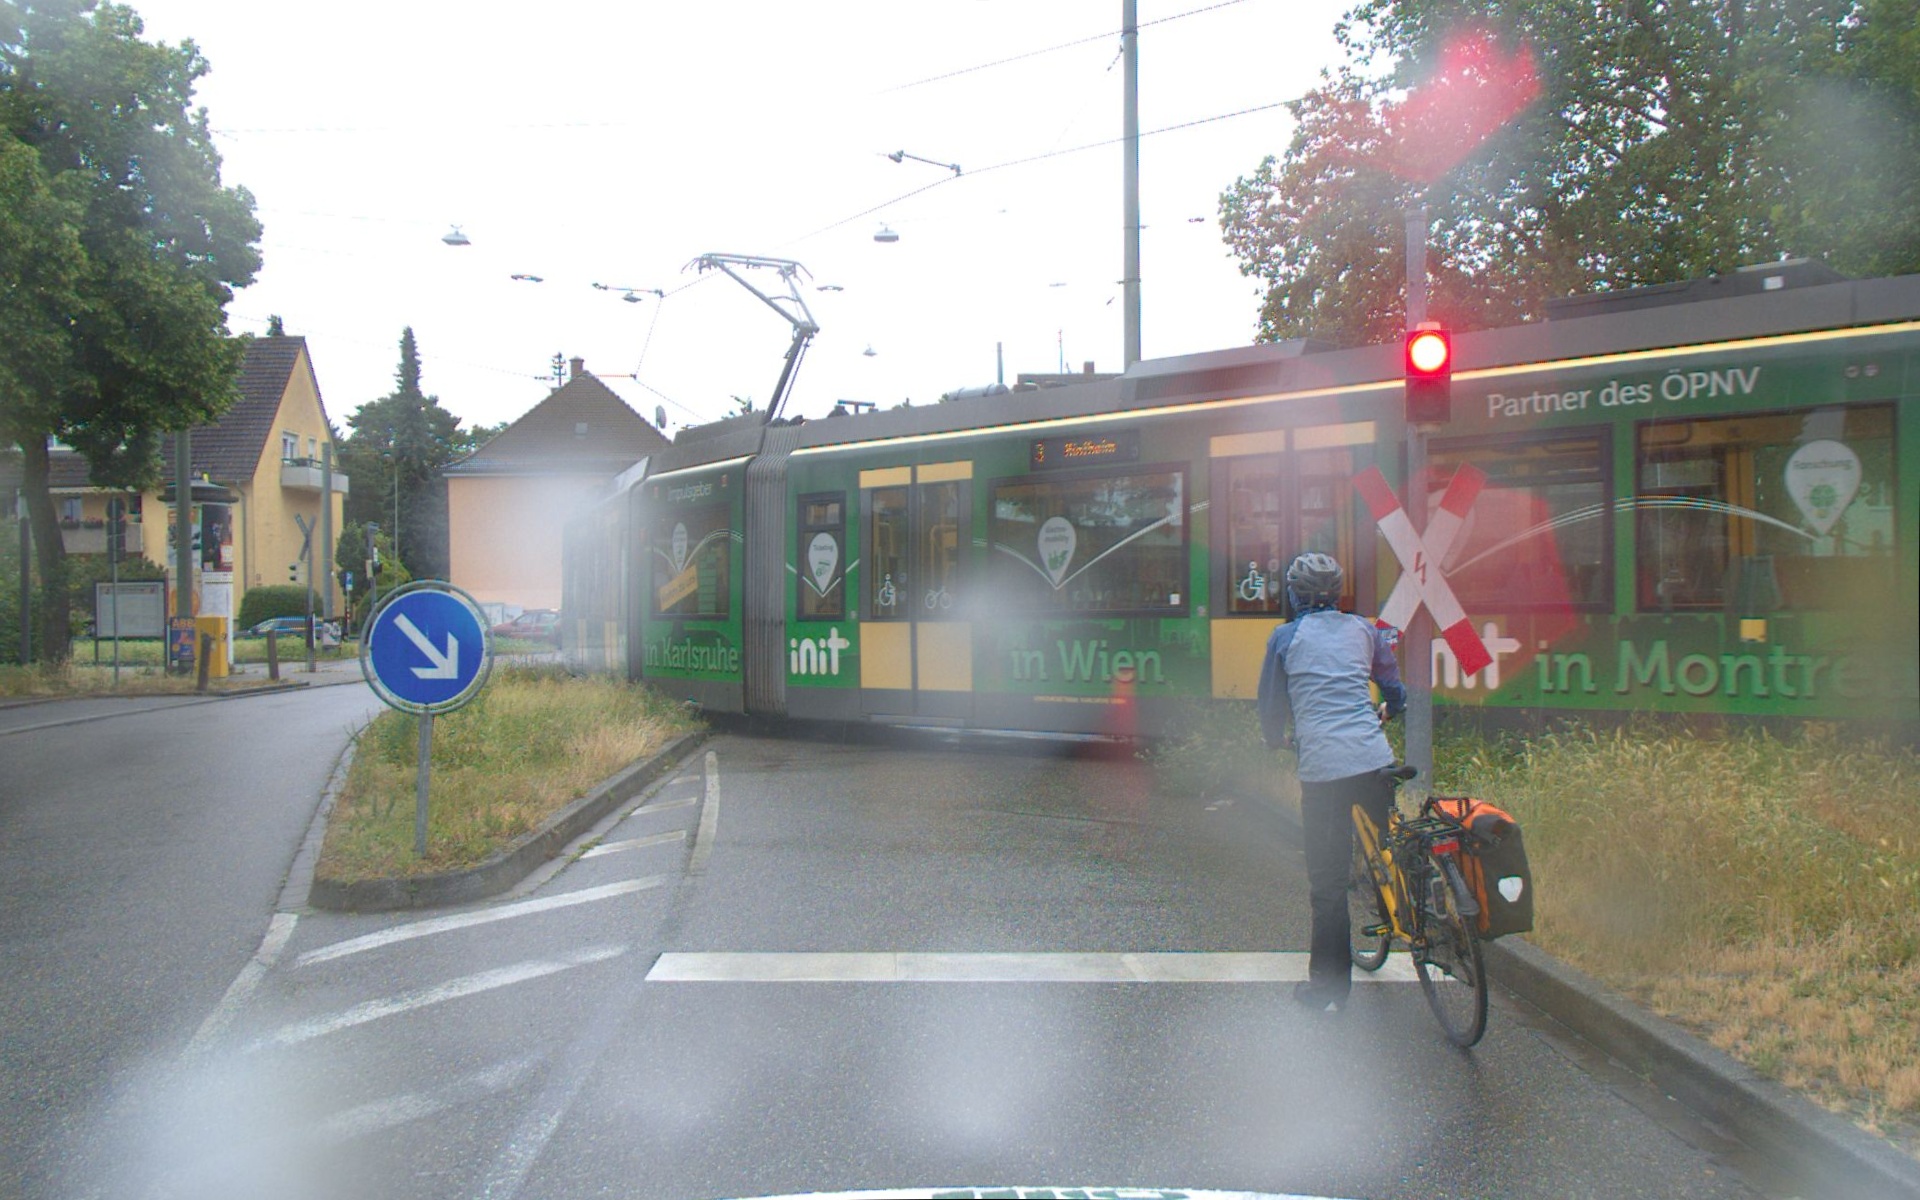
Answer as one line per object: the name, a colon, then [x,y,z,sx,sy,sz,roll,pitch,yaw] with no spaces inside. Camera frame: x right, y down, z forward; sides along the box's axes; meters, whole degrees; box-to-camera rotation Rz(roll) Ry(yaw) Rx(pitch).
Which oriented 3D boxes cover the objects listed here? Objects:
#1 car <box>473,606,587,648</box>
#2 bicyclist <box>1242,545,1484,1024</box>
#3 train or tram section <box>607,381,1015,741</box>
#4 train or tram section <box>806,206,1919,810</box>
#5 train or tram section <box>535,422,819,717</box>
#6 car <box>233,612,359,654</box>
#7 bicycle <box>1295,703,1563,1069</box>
car: [-16.177,1.020,62.332,3.911,1.482,1.831,1,0,-7]
bicyclist: [1.476,0.645,6.174,0.653,1.654,0.852,1,-1,-2]
train or tram section: [-1.905,-0.409,19.438,2.736,3.615,4.929,-1,0,-34]
train or tram section: [3.745,-0.506,13.691,11.991,3.615,2.752,-1,0,43]
train or tram section: [-5.099,-0.360,26.922,2.718,3.615,13.065,-1,0,-18]
car: [-24.433,1.203,60.961,3.911,1.482,1.831,1,0,-7]
bicycle: [1.655,0.953,6.078,0.437,1.022,1.727,-1,1,-2]
